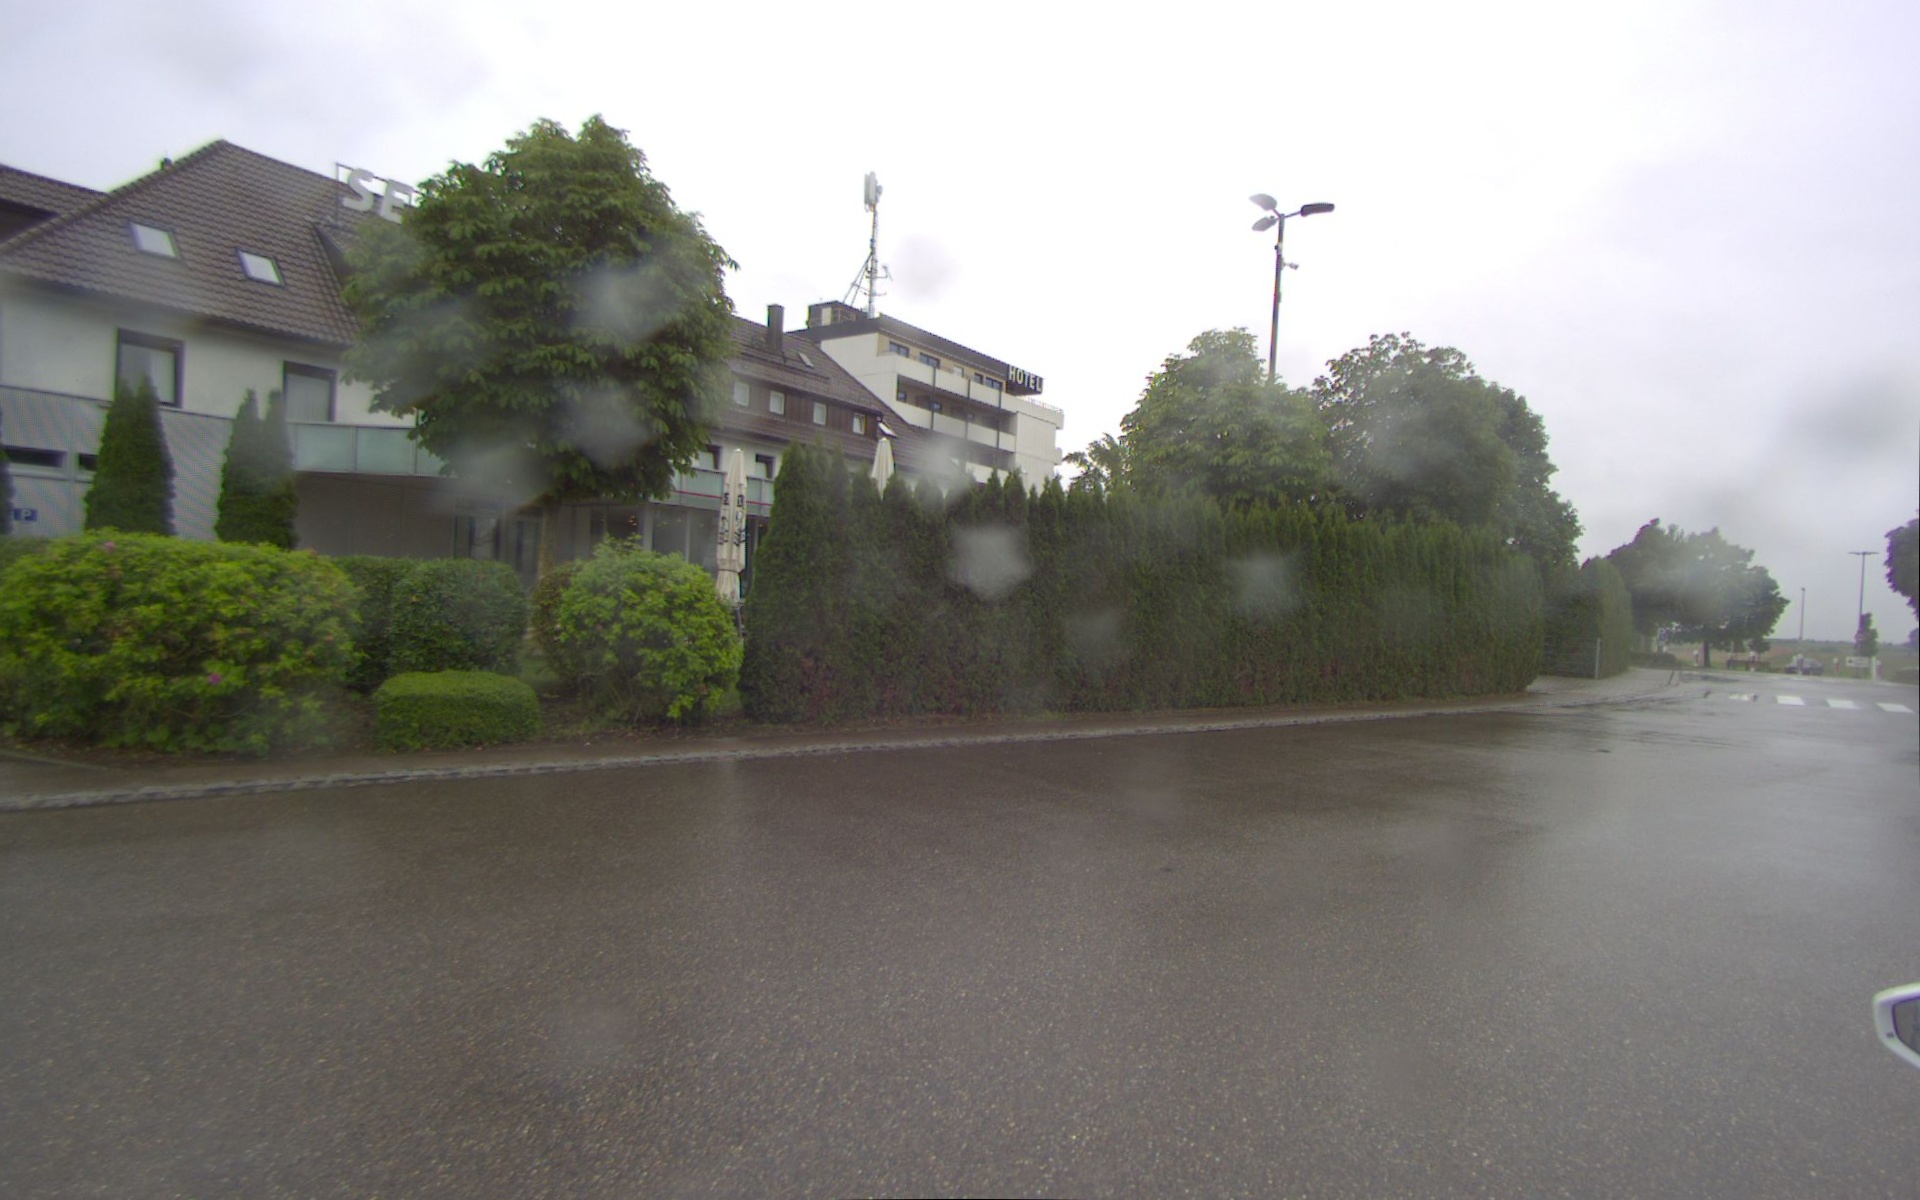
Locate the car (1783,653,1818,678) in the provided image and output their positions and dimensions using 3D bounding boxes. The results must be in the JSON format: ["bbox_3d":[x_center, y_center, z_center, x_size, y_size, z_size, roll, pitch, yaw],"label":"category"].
[{"bbox_3d":[77.481,6.067,92.551,3.967,2.040,1.689,5,0,-39],"label":"car"}]
